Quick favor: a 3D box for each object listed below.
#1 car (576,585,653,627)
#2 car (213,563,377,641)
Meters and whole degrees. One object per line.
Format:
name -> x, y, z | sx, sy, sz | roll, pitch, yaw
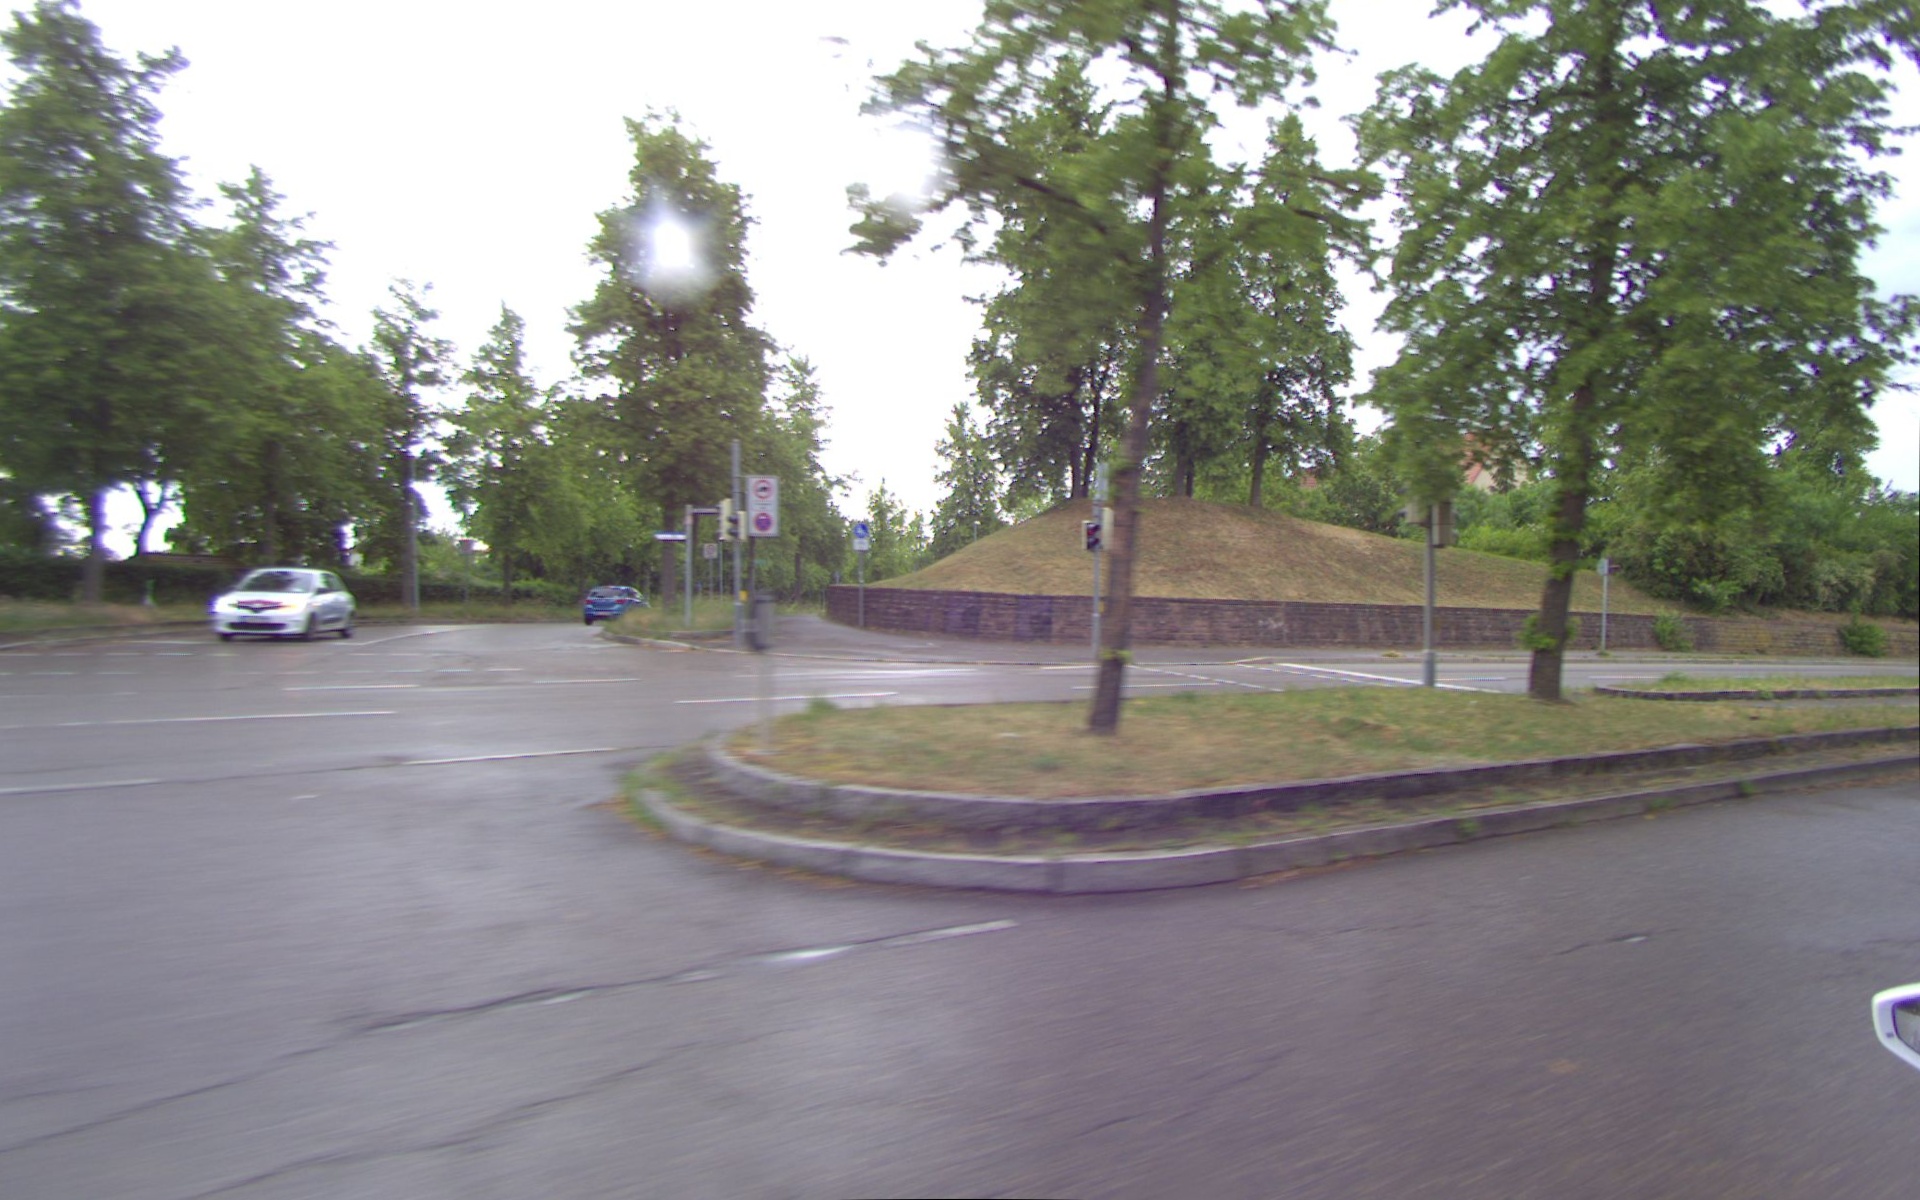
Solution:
car -> -13.355, 0.241, 39.048 | 1.963, 1.510, 3.933 | 2, -1, -7
car -> -14.312, 0.028, 21.863 | 1.731, 1.498, 3.688 | 2, 0, -13
